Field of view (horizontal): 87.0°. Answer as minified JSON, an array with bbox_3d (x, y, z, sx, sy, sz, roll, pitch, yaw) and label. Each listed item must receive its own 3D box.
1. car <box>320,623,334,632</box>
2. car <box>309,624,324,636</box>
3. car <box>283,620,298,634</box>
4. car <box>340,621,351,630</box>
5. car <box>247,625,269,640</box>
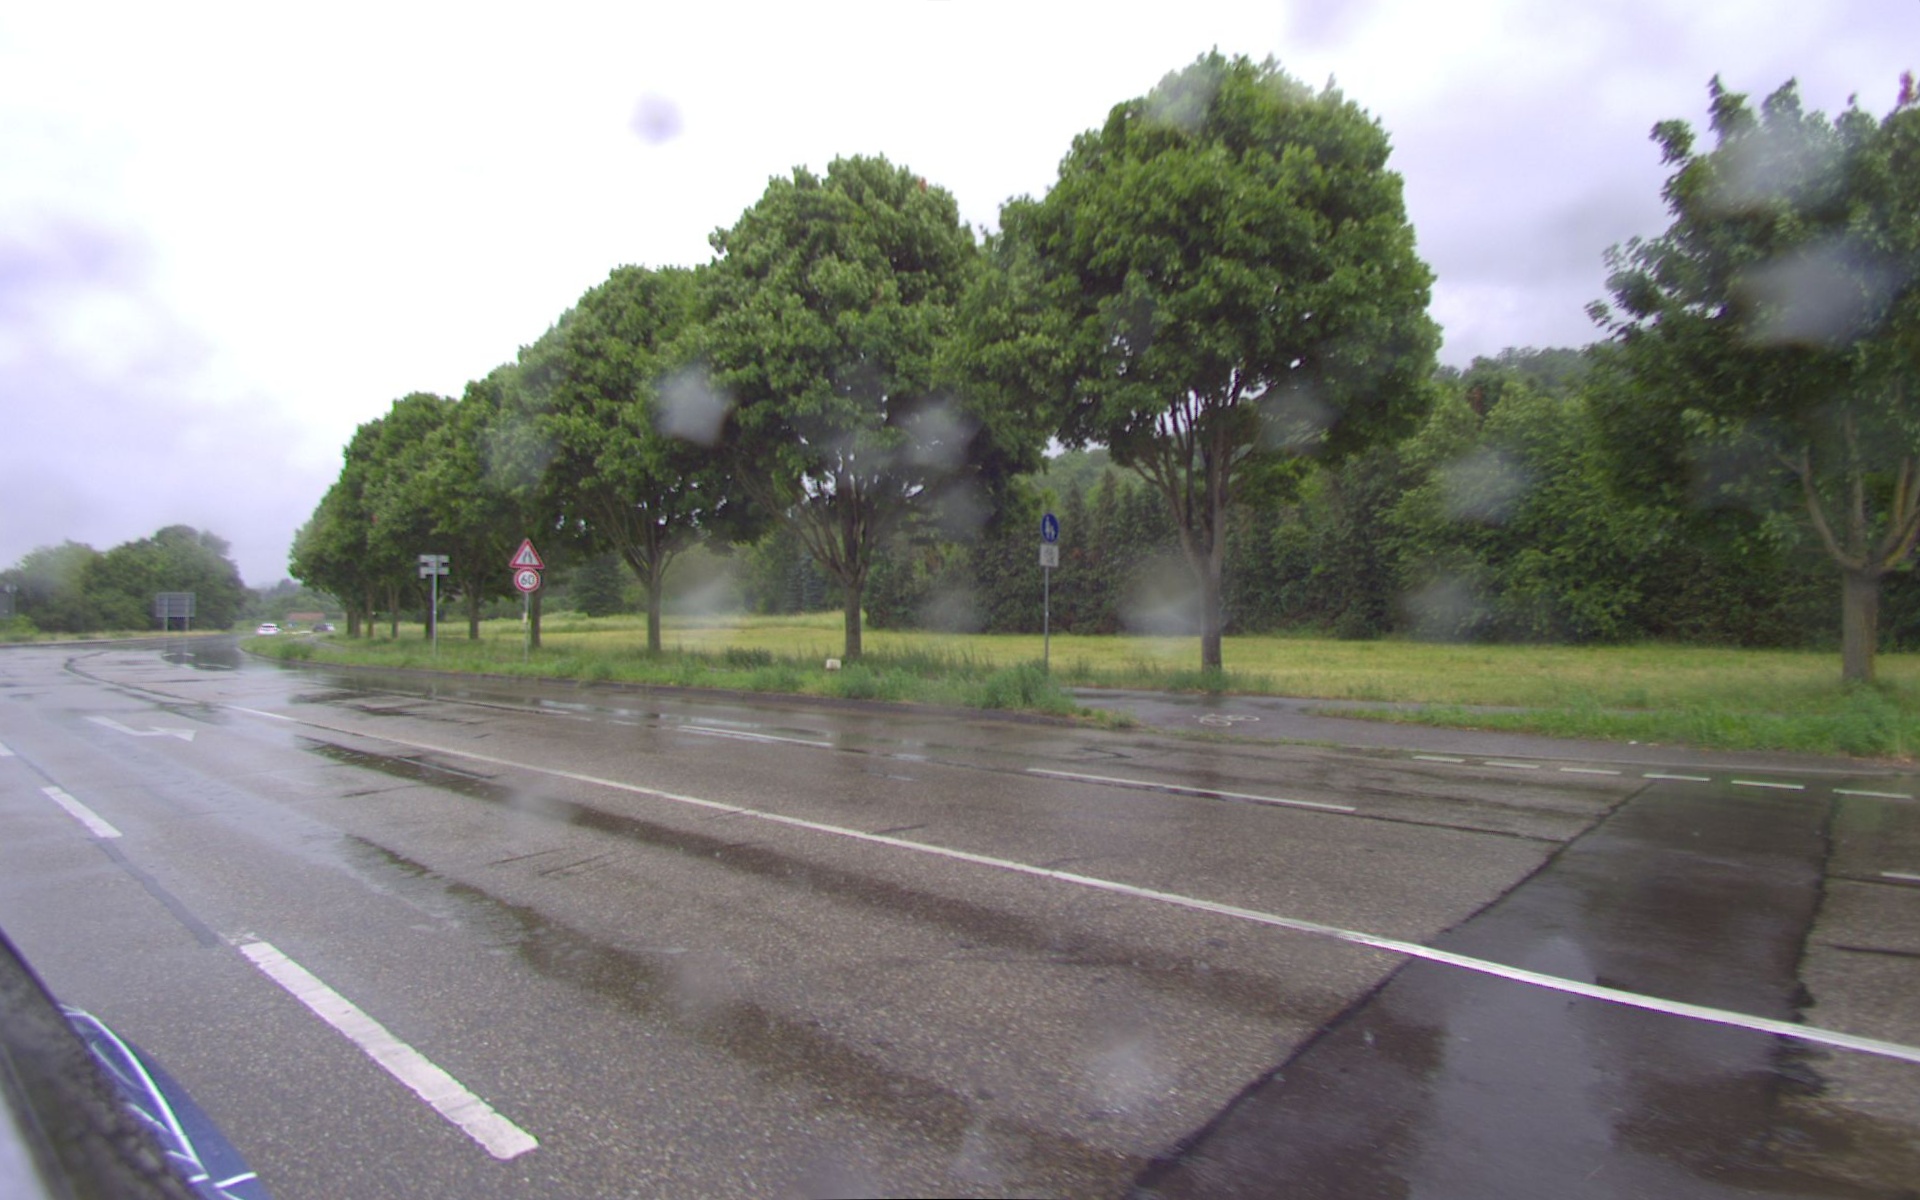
[{"bbox_3d":[-105.020,4.530,167.856,1.715,1.498,4.021,2,-2,-34],"label":"car"},{"bbox_3d":[-97.720,4.562,153.652,1.859,1.599,4.129,-2,0,-34],"label":"car"},{"bbox_3d":[-97.943,3.891,148.108,1.715,2.006,4.022,2,-2,-33],"label":"car"},{"bbox_3d":[-129.967,5.399,213.921,1.897,1.756,4.301,2,-2,-31],"label":"car"},{"bbox_3d":[-78.728,3.623,113.444,1.854,1.585,4.655,2,-2,-36],"label":"car"}]
